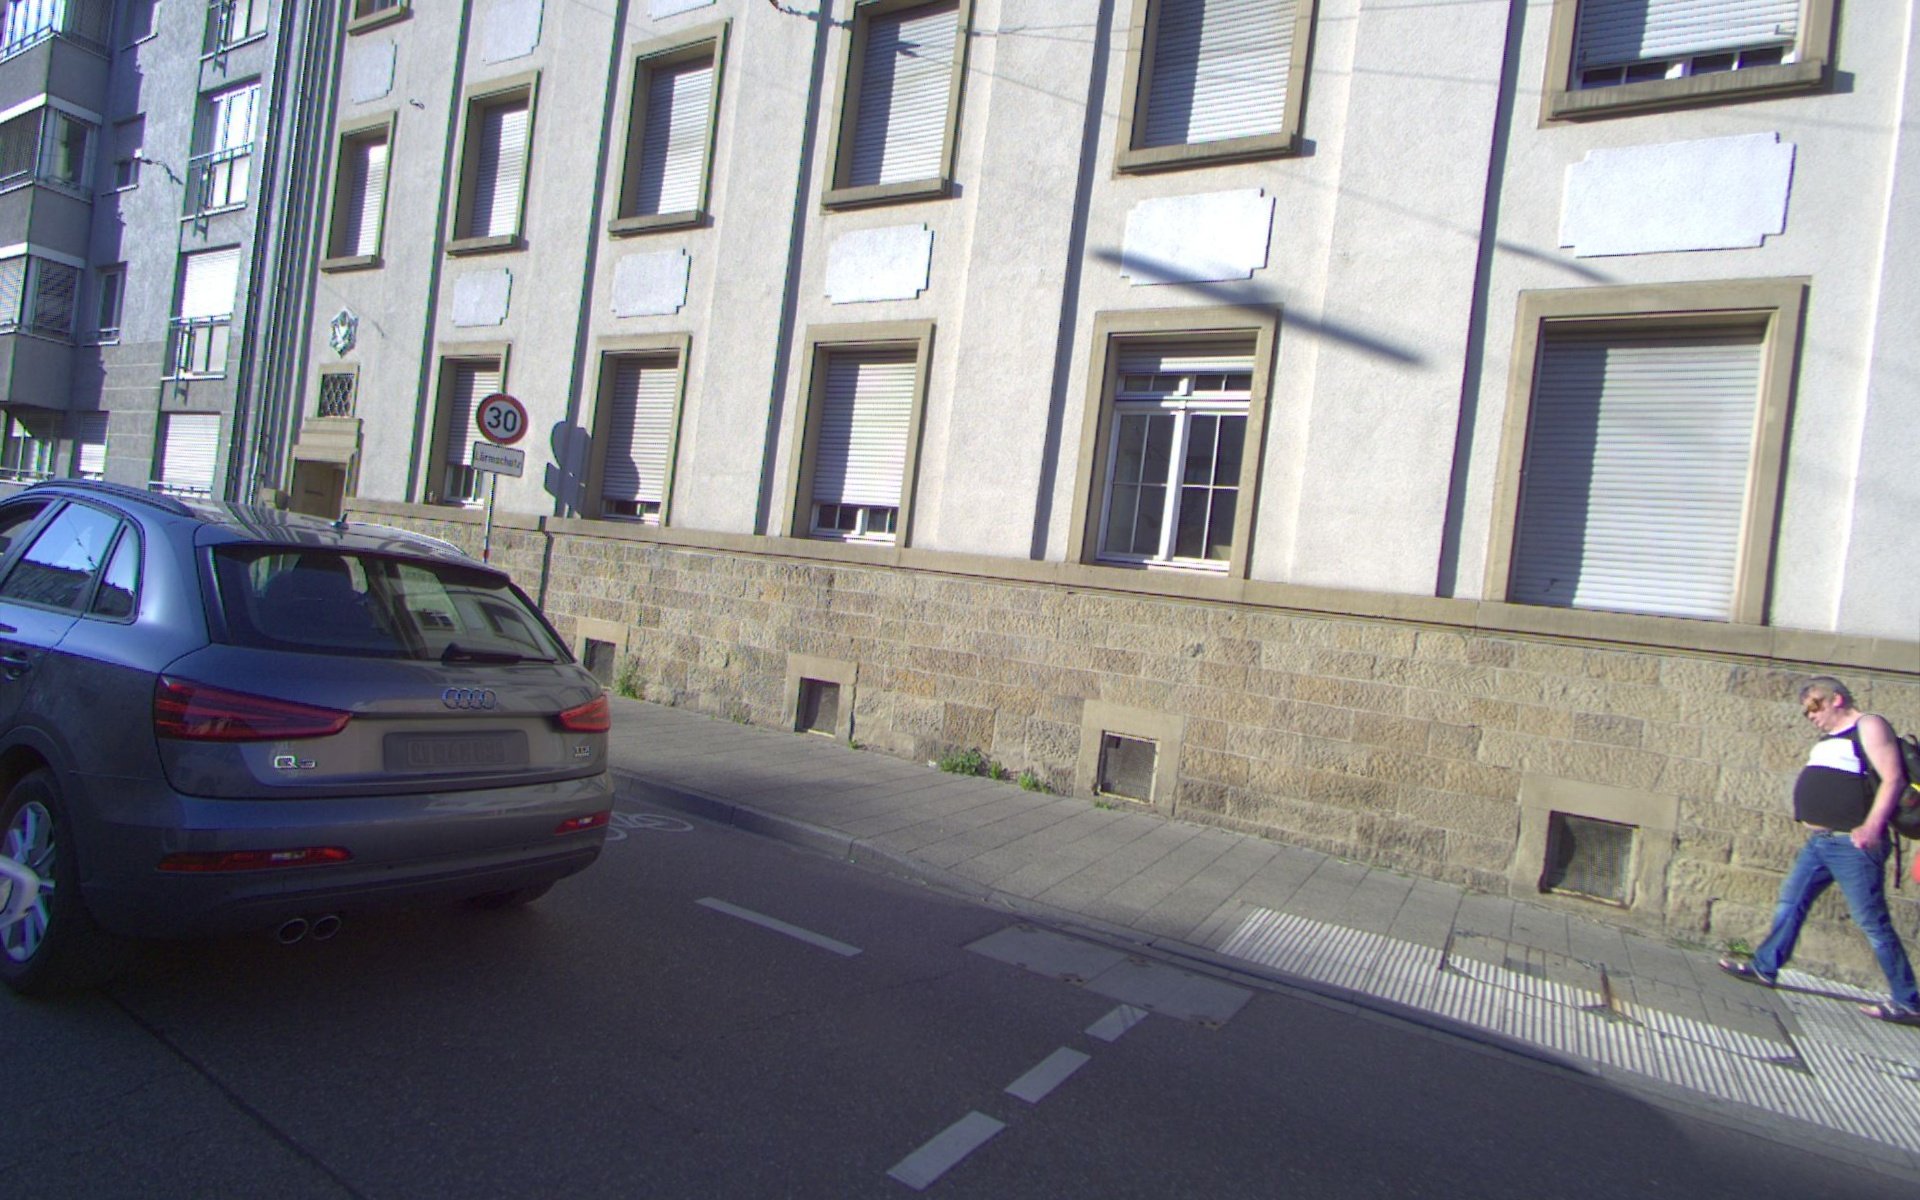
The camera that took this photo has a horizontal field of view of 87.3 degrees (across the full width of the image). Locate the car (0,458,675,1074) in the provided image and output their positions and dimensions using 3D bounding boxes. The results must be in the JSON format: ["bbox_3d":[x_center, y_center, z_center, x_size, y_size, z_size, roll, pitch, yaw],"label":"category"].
[{"bbox_3d":[-3.441,0.342,4.378,4.155,1.570,1.701,6,-2,31],"label":"car"}]

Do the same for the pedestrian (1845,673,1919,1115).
[{"bbox_3d":[4.453,1.243,4.228,0.810,1.784,0.836,6,0,31],"label":"pedestrian"}]

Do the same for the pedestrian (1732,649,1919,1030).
[{"bbox_3d":[4.692,1.203,5.265,0.812,1.778,0.630,6,-2,31],"label":"pedestrian"}]
